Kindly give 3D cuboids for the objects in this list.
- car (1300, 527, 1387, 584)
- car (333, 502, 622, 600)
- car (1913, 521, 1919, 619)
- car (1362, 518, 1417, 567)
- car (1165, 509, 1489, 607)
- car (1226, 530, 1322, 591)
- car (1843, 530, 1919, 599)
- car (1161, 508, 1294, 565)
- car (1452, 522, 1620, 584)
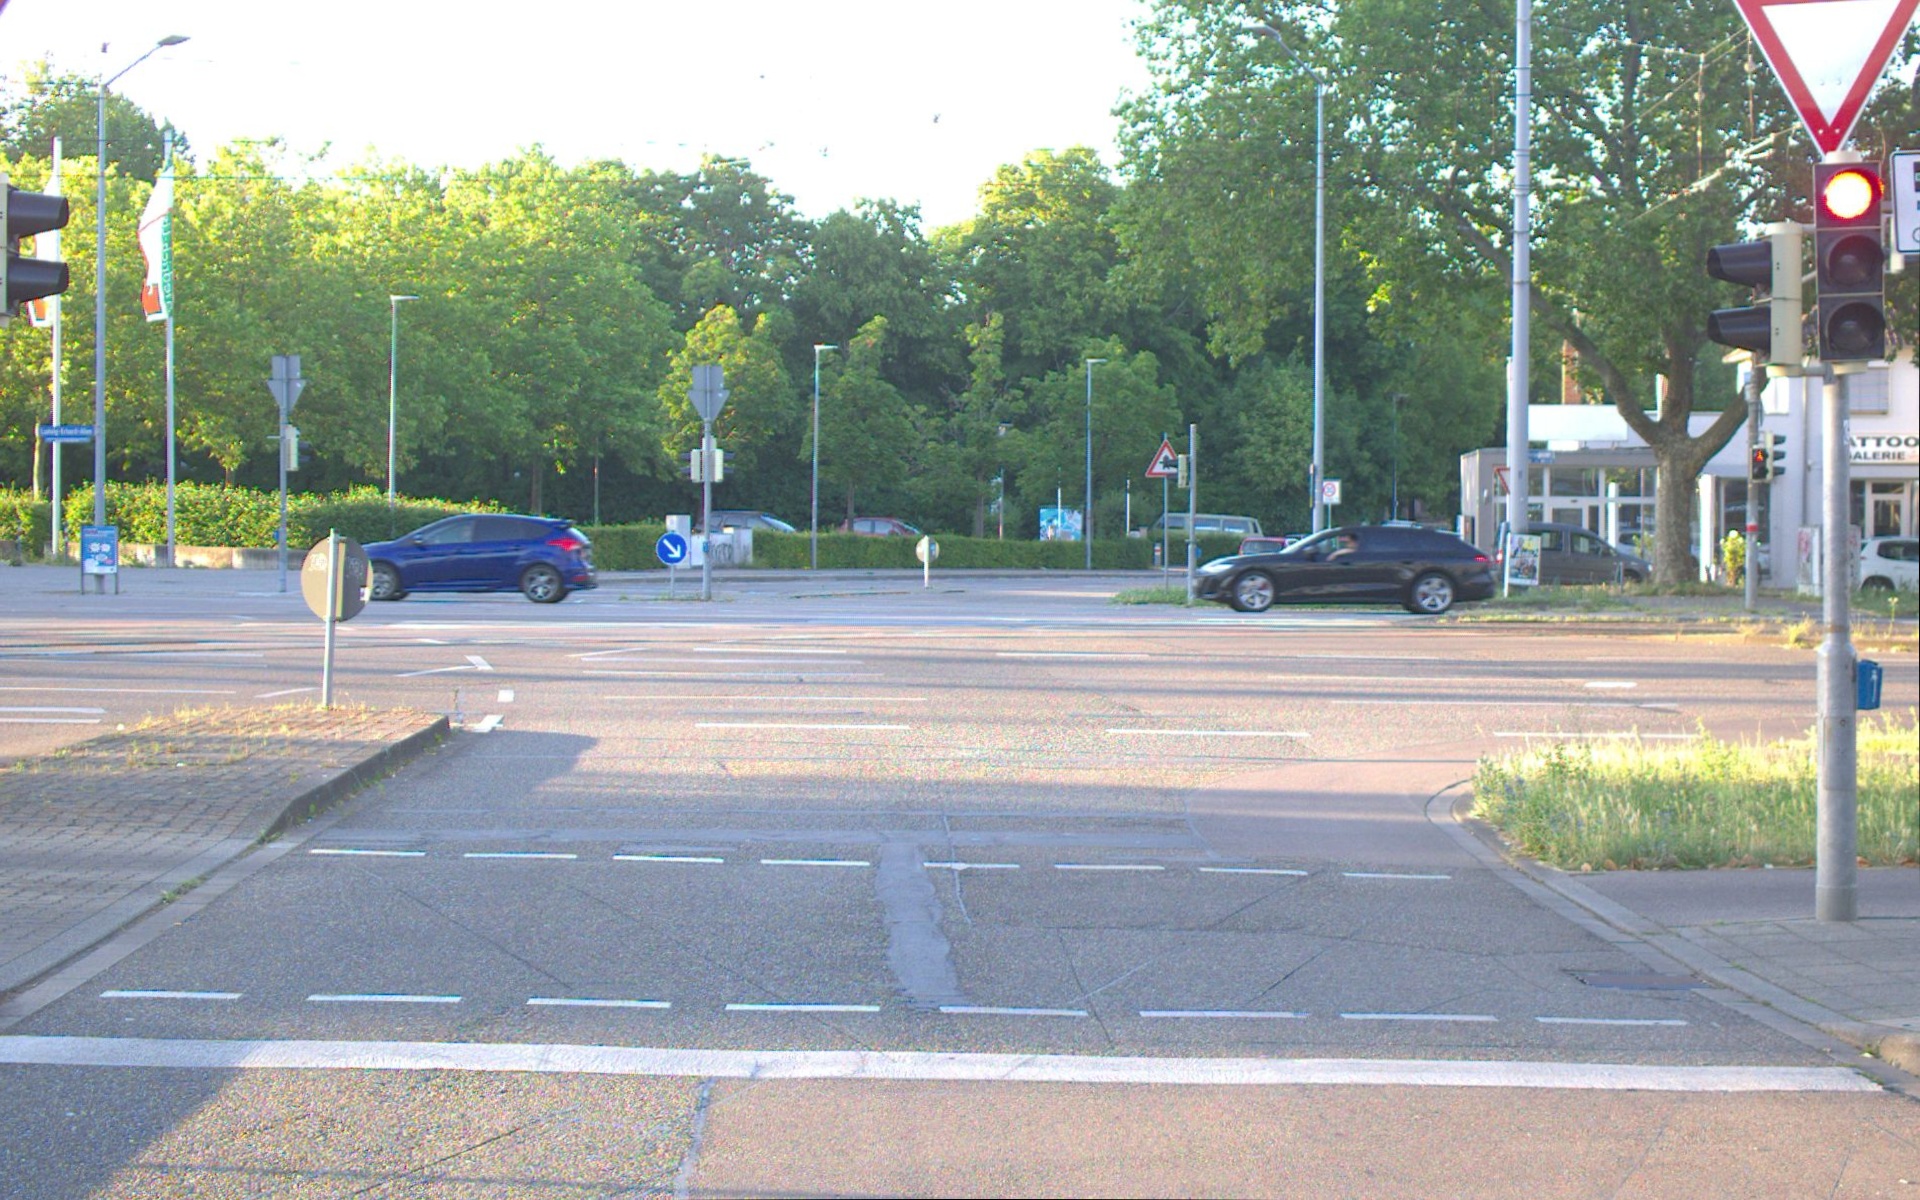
[{"bbox_3d":[11.548,-1.334,103.369,1.995,1.656,3.997,1,0,15],"label":"car"},{"bbox_3d":[-7.932,-0.800,56.790,4.472,1.547,2.000,0,0,1],"label":"car"},{"bbox_3d":[17.831,-0.456,53.873,5.224,1.547,2.000,0,0,-1],"label":"car"},{"bbox_3d":[16.417,-2.186,131.185,1.864,1.788,3.998,1,0,10],"label":"car"},{"bbox_3d":[6.020,-0.686,56.842,5.099,1.547,2.000,0,0,-1],"label":"car"},{"bbox_3d":[8.769,-1.095,95.682,1.995,1.656,3.997,1,0,15],"label":"car"},{"bbox_3d":[20.572,-0.735,72.274,3.741,1.435,1.663,1,0,9],"label":"car"},{"bbox_3d":[9.773,-2.314,125.870,4.774,1.999,2.000,0,0,2],"label":"car"},{"bbox_3d":[14.905,-1.213,89.163,4.220,1.547,1.999,1,0,7],"label":"car"}]
